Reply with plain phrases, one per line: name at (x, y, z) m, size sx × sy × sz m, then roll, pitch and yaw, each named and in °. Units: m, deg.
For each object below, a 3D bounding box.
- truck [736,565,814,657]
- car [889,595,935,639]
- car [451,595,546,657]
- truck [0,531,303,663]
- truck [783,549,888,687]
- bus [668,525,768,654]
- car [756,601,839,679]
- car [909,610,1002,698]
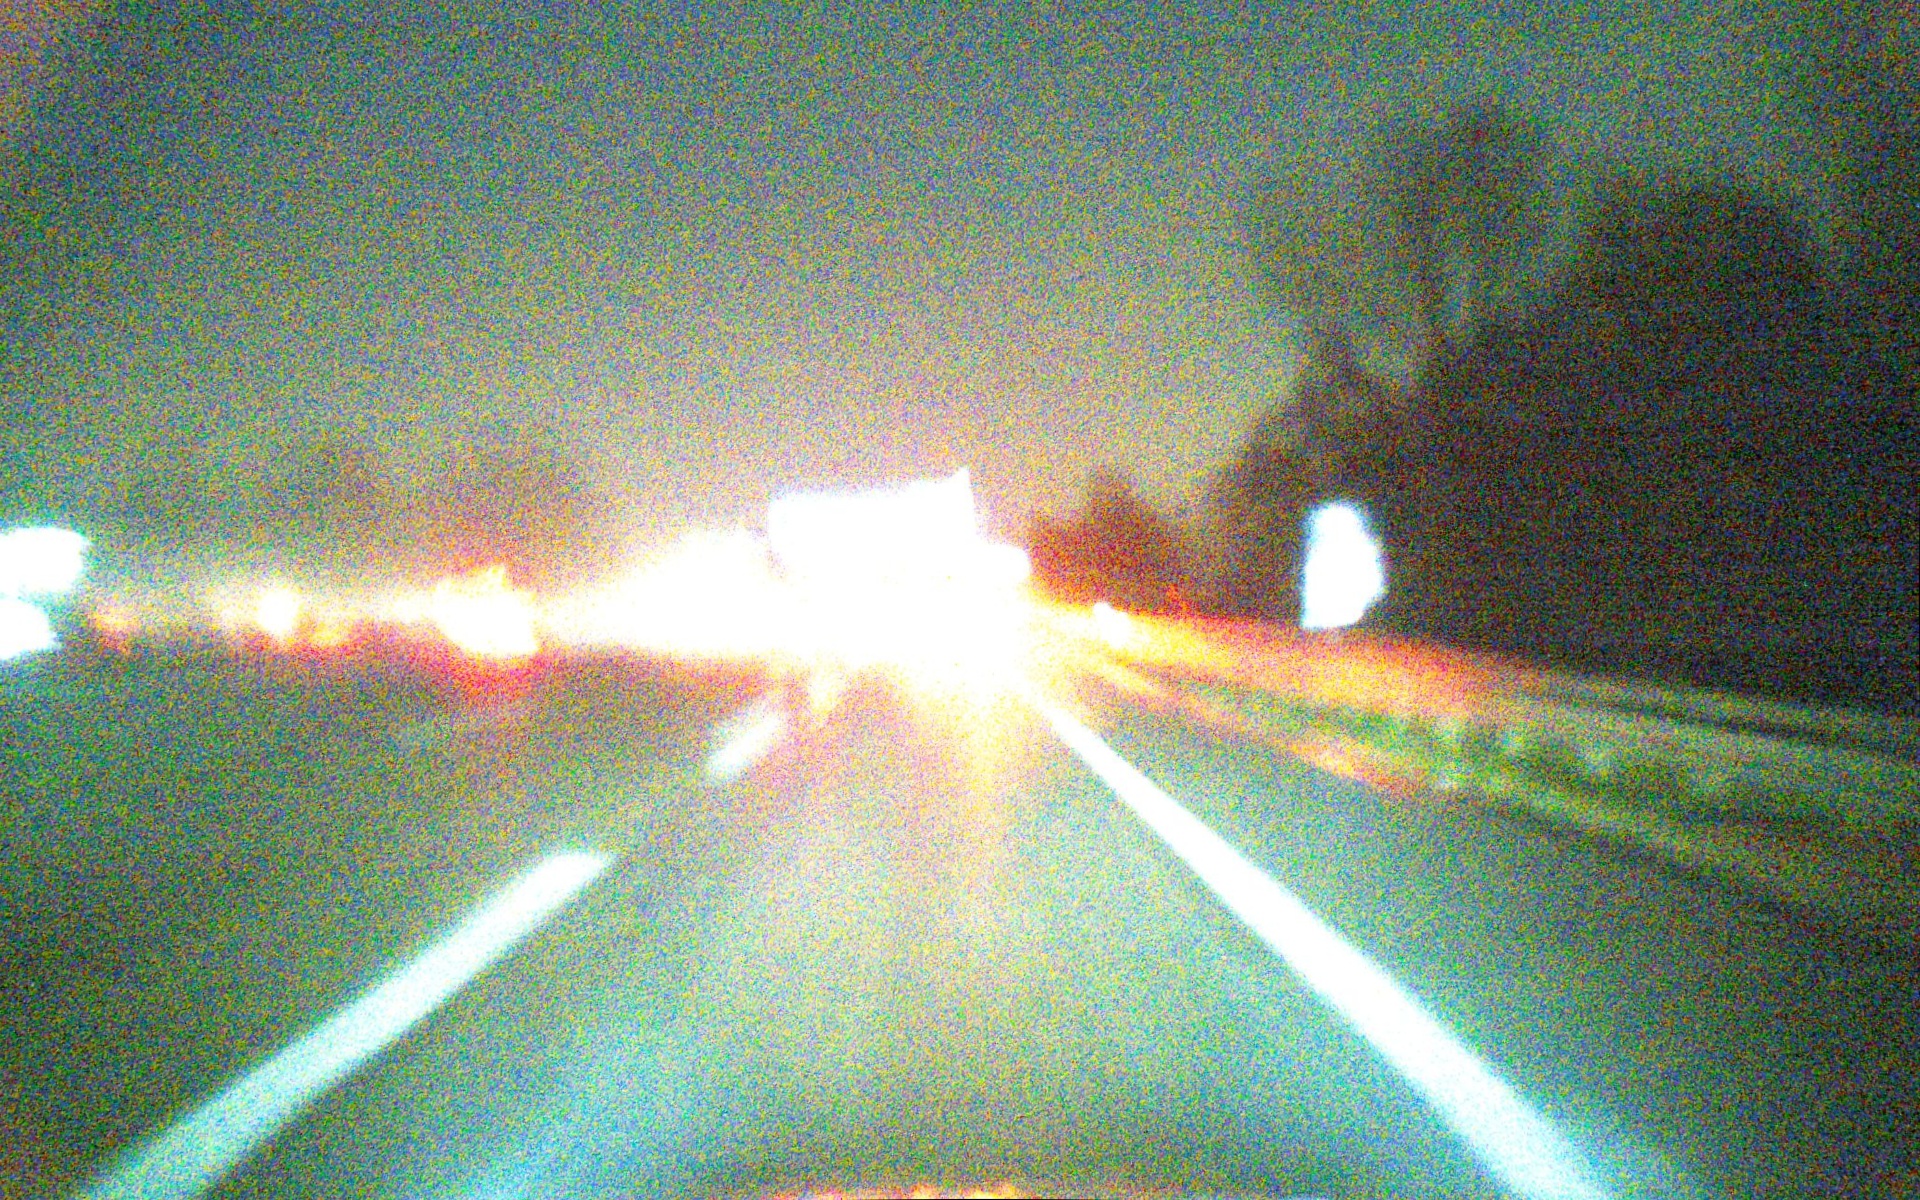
truck at (-12.184, 0.751, 110.254) m, size 4.125 × 5.747 × 11.463 m, roll 1°, pitch -1°, yaw -2°
car at (-2.365, 0.826, 80.904) m, size 2.084 × 2.049 × 4.642 m, roll 1°, pitch -1°, yaw -3°
car at (-12.755, 0.705, 45.955) m, size 1.956 × 1.624 × 3.993 m, roll 1°, pitch -1°, yaw -7°
truck at (-28.341, -0.004, 58.413) m, size 3.428 × 3.956 × 17.178 m, roll 1°, pitch -1°, yaw 0°
truck at (-5.453, 0.814, 75.136) m, size 4.125 × 5.747 × 11.463 m, roll 1°, pitch -1°, yaw -2°
bus at (-9.352, -0.325, 64.962) m, size 3.036 × 4.587 × 10.902 m, roll 1°, pitch -1°, yaw -4°
car at (-4.503, 1.094, 46.378) m, size 2.084 × 2.049 × 4.642 m, roll 1°, pitch -1°, yaw -3°
car at (-0.127, 1.174, 37.153) m, size 1.953 × 1.839 × 3.999 m, roll 1°, pitch -1°, yaw -1°
